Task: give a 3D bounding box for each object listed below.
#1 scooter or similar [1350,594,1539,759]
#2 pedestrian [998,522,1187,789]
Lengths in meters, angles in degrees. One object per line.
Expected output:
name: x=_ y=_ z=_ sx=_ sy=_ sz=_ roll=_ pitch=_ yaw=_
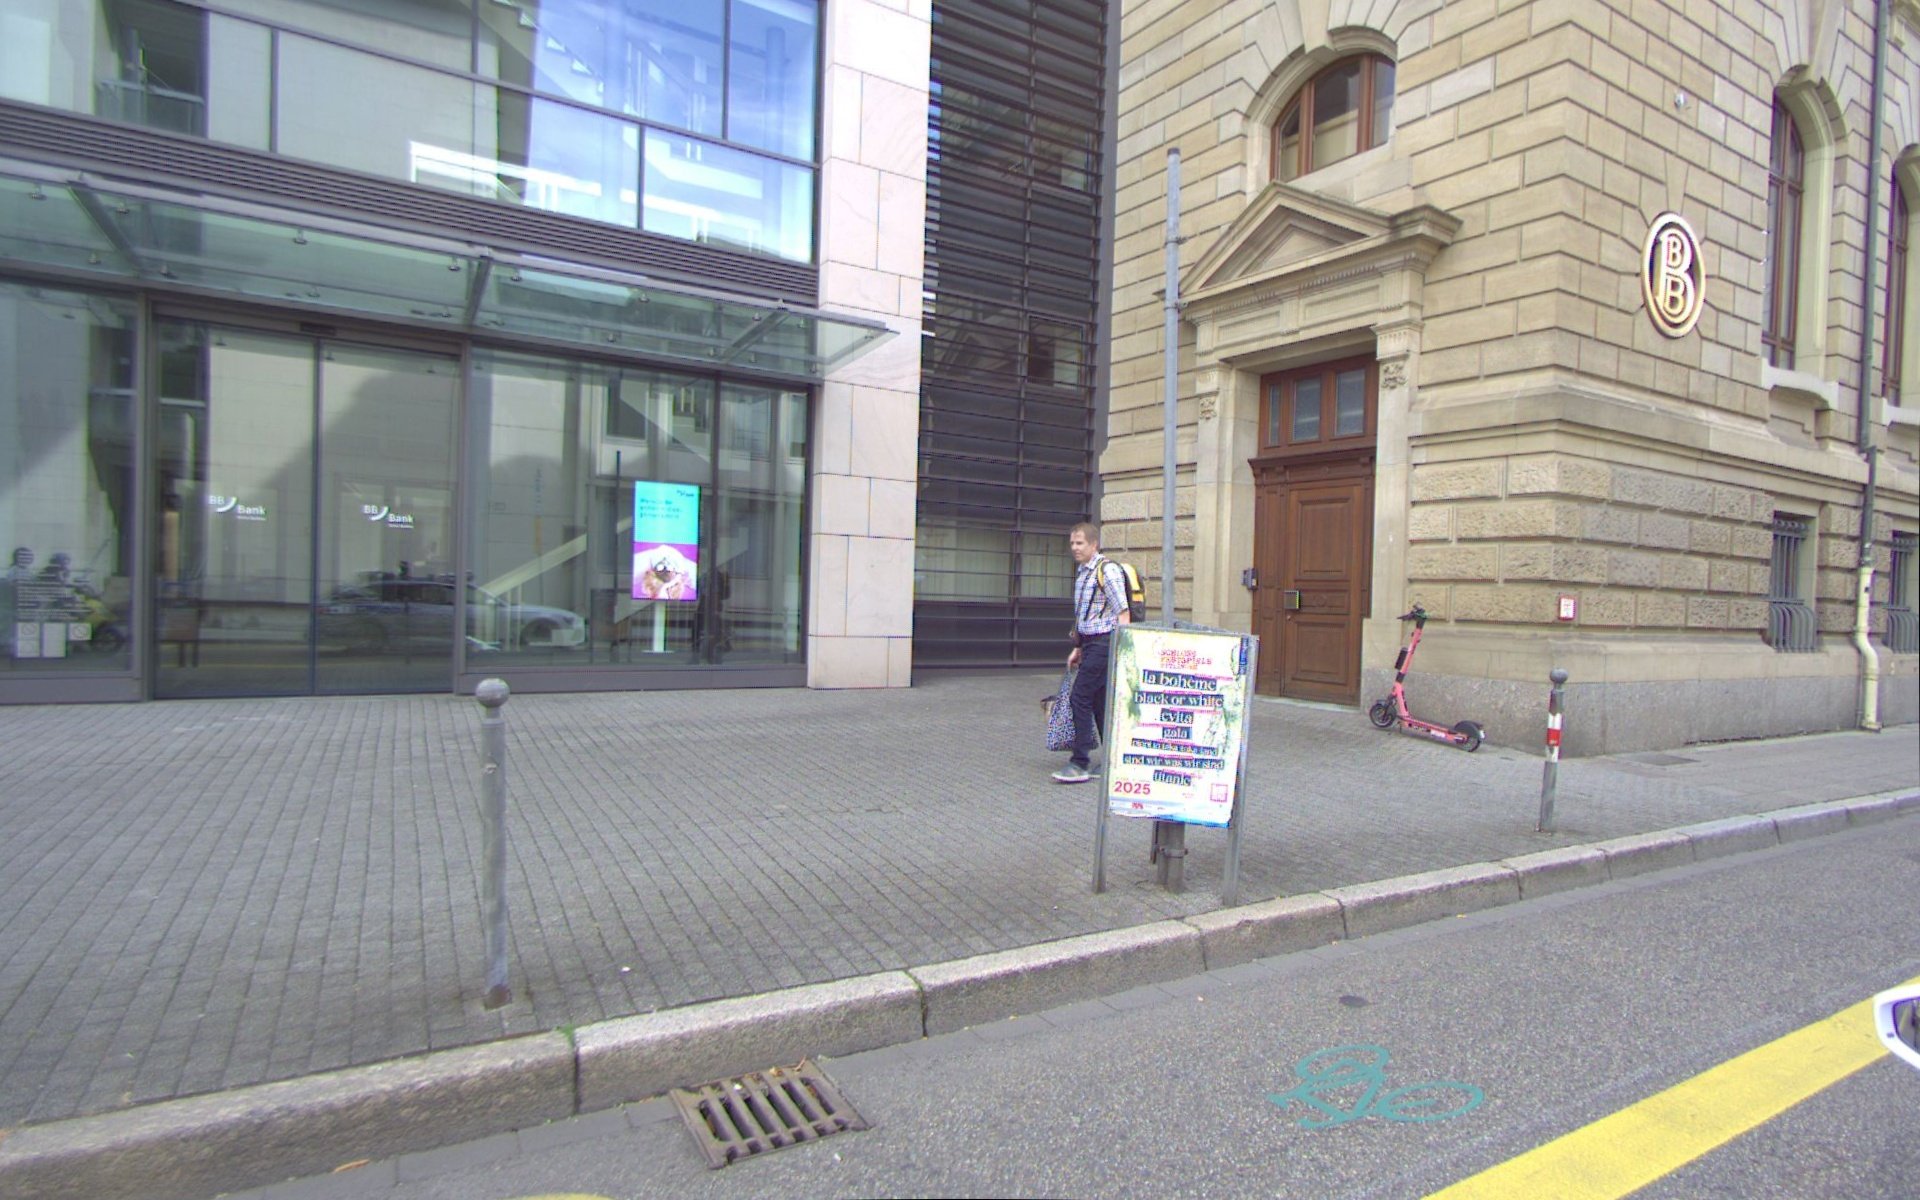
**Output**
scooter or similar: x=4.459 y=0.655 z=9.348 sx=0.580 sy=1.328 sz=1.439 roll=0 pitch=4 yaw=-30
pedestrian: x=0.921 y=0.351 z=7.190 sx=0.809 sy=1.743 sz=1.021 roll=2 pitch=2 yaw=-30
